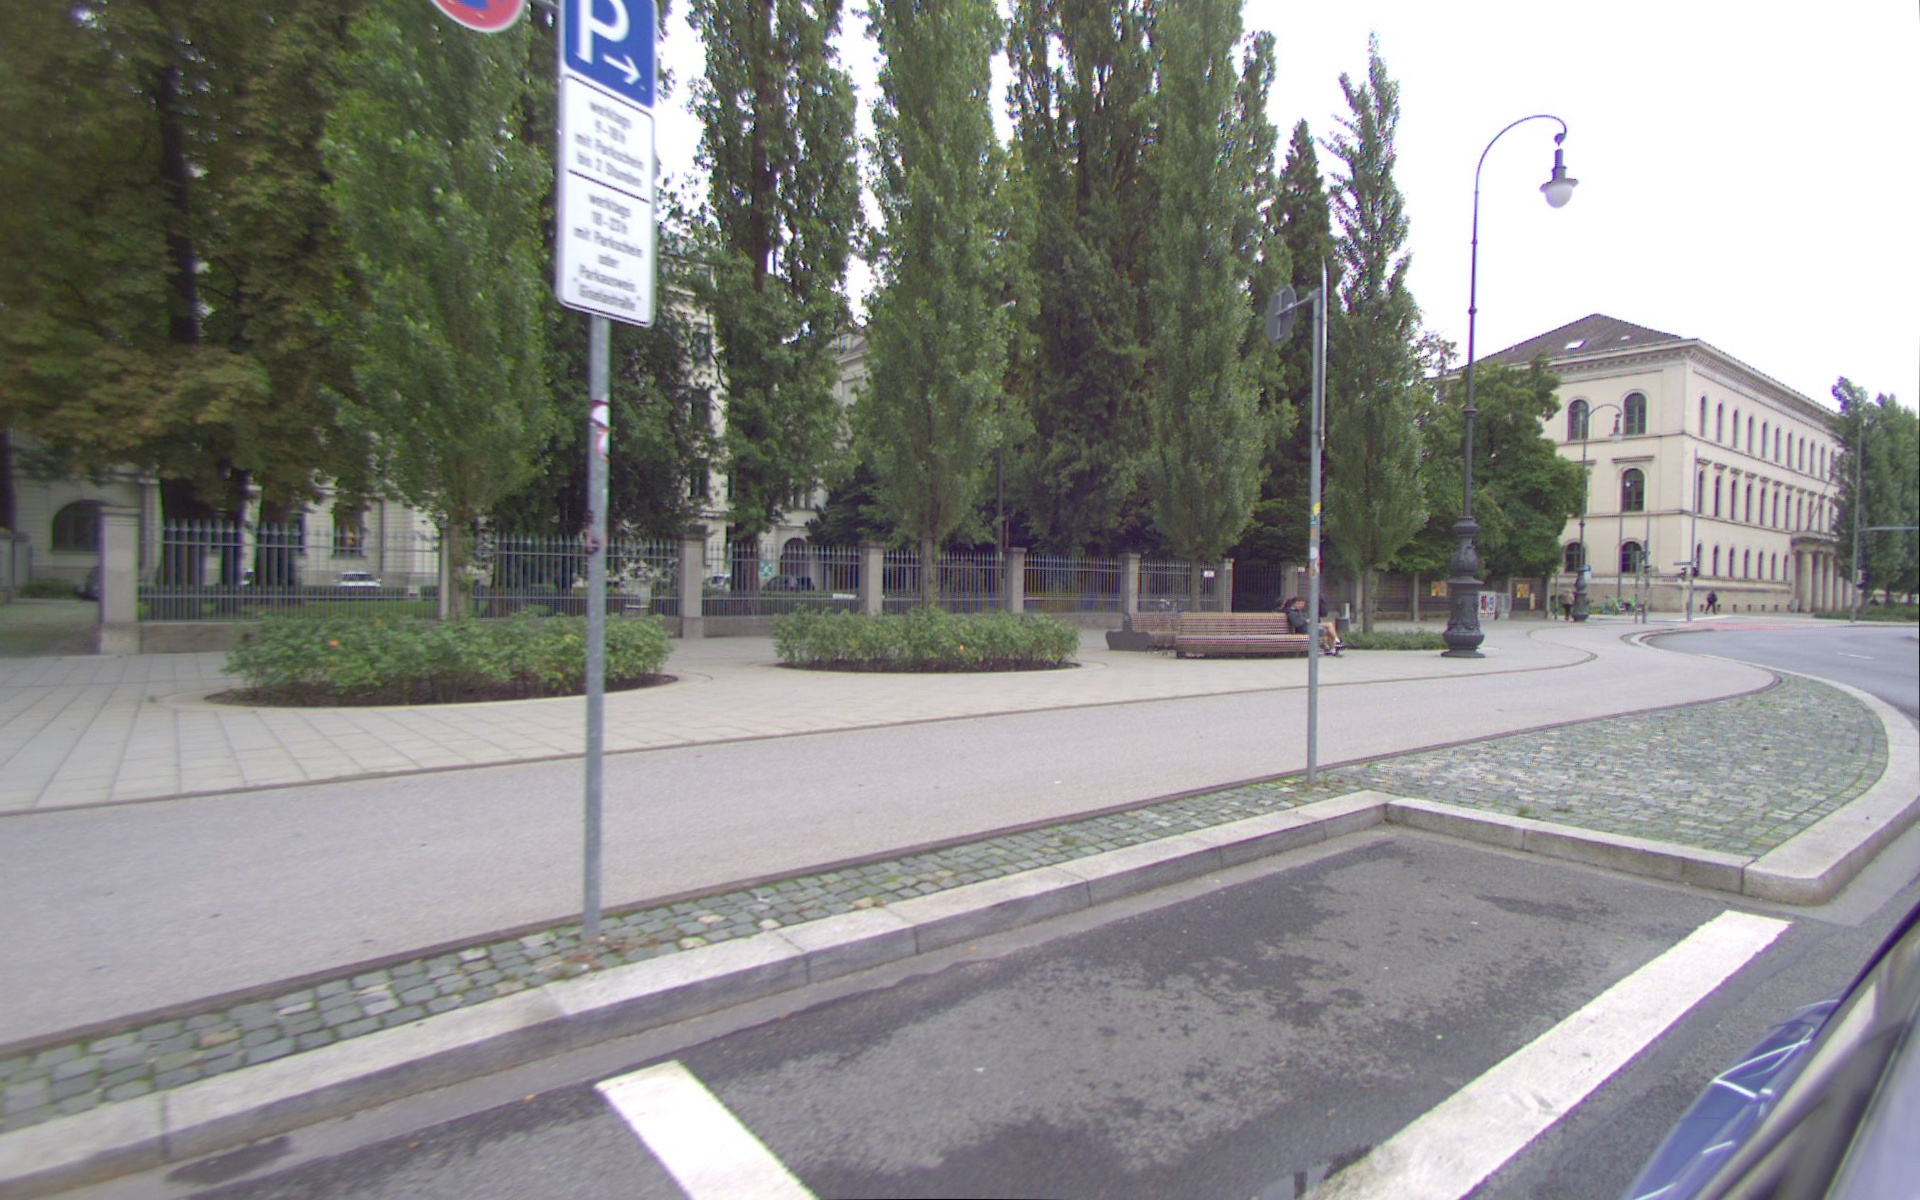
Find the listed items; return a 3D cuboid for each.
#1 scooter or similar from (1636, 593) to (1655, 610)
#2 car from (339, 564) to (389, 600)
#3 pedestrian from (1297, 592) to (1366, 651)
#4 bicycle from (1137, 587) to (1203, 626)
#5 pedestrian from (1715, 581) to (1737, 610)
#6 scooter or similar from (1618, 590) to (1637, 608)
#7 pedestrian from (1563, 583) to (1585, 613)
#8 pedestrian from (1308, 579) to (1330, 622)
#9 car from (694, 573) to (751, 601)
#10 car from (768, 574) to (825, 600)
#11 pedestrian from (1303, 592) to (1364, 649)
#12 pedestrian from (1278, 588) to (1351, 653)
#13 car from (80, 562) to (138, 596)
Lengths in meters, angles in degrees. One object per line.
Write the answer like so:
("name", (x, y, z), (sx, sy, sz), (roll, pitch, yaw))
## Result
("scooter or similar", (45.935, 0.107, 67.815), (1.626, 1.155, 0.568), (0, 1, -37))
("car", (-28.812, -0.885, 48.869), (1.620, 1.638, 3.999), (0, 1, -37))
("pedestrian", (7.997, 0.454, 21.759), (1.354, 1.222, 0.802), (0, 0, 23))
("bicycle", (7.190, 0.204, 34.550), (2.951, 1.254, 0.673), (0, 2, -45))
("pedestrian", (53.463, -0.319, 70.622), (0.984, 2.039, 0.944), (0, 1, -37))
("scooter or similar", (44.975, -0.087, 68.180), (1.626, 1.155, 0.568), (0, 1, -37))
("pedestrian", (33.174, -0.115, 54.683), (0.802, 1.618, 0.738), (0, 1, -37))
("pedestrian", (13.861, 0.032, 39.079), (0.527, 1.640, 0.591), (0, 0, -38))
("car", (-14.366, -0.796, 61.043), (1.961, 1.594, 4.471), (0, 1, -34))
("car", (-10.219, -0.819, 63.022), (1.914, 1.594, 4.268), (0, 1, -34))
("pedestrian", (8.307, 0.447, 22.515), (1.251, 1.231, 0.571), (0, 0, 22))
("pedestrian", (7.333, 0.408, 20.924), (1.318, 1.290, 0.800), (0, 0, 30))
("car", (-36.705, -0.921, 43.731), (1.800, 1.420, 4.212), (0, 2, -39))
